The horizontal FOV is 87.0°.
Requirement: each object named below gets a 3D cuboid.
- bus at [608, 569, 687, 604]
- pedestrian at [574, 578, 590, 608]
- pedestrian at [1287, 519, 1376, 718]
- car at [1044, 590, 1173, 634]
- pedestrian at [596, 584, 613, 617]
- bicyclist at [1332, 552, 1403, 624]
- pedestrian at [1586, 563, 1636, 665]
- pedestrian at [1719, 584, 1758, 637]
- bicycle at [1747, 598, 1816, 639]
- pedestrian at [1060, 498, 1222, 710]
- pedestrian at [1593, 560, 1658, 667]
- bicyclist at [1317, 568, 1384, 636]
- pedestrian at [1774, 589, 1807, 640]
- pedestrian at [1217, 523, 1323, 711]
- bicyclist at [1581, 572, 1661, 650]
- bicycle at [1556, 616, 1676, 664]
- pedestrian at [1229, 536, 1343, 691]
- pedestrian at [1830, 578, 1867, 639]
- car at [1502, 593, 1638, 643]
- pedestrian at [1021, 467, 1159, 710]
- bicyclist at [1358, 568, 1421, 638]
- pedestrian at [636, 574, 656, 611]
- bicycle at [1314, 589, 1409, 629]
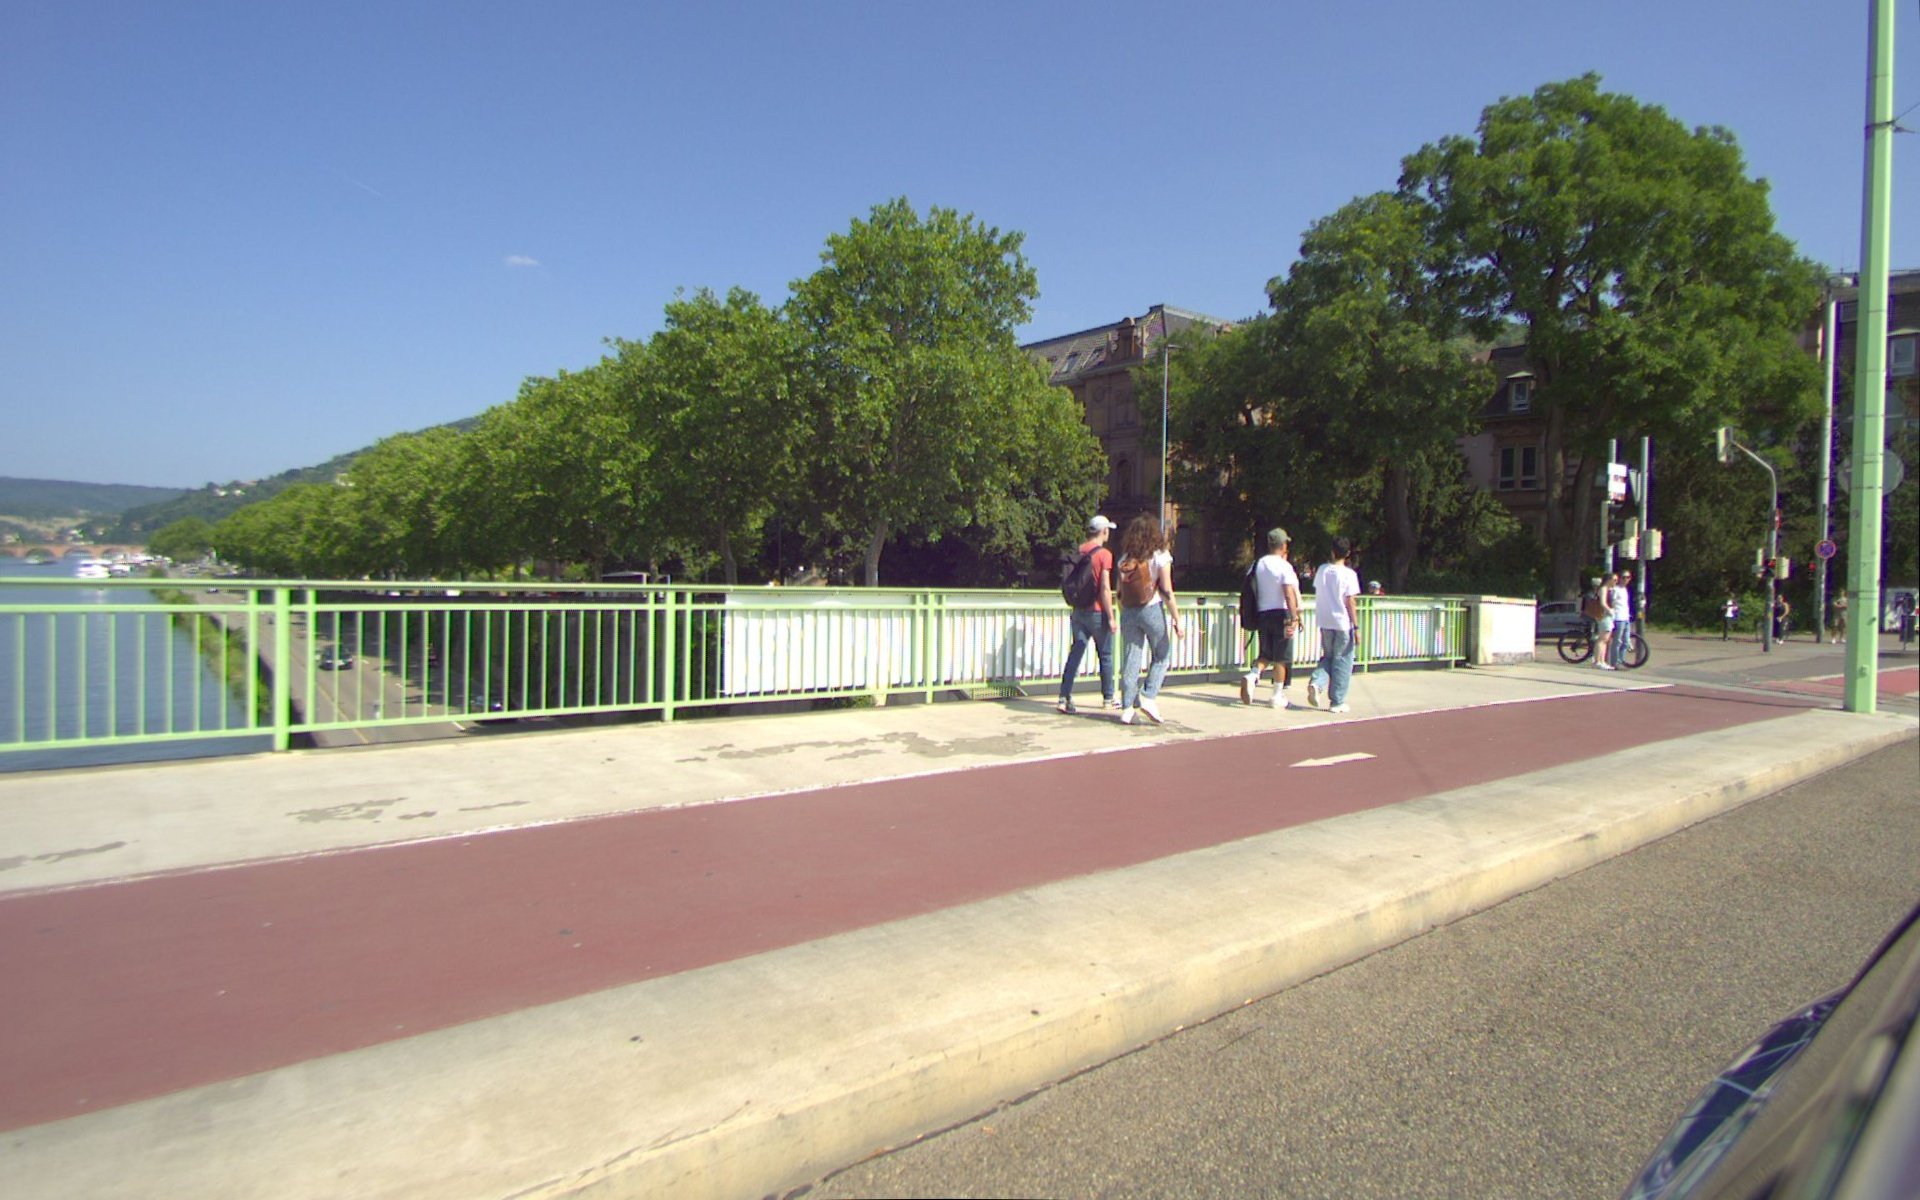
[{"bbox_3d":[-27.437,-1.270,88.635,3.058,2.817,8.835,-1,3,-43],"label":"bus"},{"bbox_3d":[-22.585,-0.431,60.432,0.665,1.797,0.741,1,0,-43],"label":"pedestrian"},{"bbox_3d":[3.556,0.158,9.696,0.635,1.821,0.549,-1,2,-43],"label":"pedestrian"},{"bbox_3d":[5.337,0.396,36.859,1.816,1.466,4.475,0,1,-44],"label":"car"},{"bbox_3d":[-19.755,0.012,56.258,0.665,1.797,0.741,1,0,-43],"label":"pedestrian"},{"bbox_3d":[8.750,-0.257,21.767,0.909,1.492,1.084,1,0,-31],"label":"bicyclist"},{"bbox_3d":[11.569,0.235,17.990,0.566,1.782,0.536,1,1,-34],"label":"pedestrian"},{"bbox_3d":[27.707,0.353,36.019,1.054,1.802,0.693,1,5,38],"label":"pedestrian"},{"bbox_3d":[28.803,0.645,35.484,2.227,1.219,0.805,-3,5,-20],"label":"bicycle"},{"bbox_3d":[1.515,0.007,8.502,0.906,1.635,0.986,-1,2,-43],"label":"pedestrian"},{"bbox_3d":[12.024,0.223,18.291,0.632,1.879,0.776,1,1,-34],"label":"pedestrian"},{"bbox_3d":[8.778,0.044,22.776,0.909,1.492,1.084,1,0,-29],"label":"bicyclist"},{"bbox_3d":[28.790,0.490,35.086,0.877,1.731,0.675,0,2,-41],"label":"pedestrian"},{"bbox_3d":[3.013,0.143,9.842,0.719,1.737,0.696,-1,2,-43],"label":"pedestrian"},{"bbox_3d":[13.014,0.202,19.940,0.785,1.492,1.084,1,0,-33],"label":"bicyclist"},{"bbox_3d":[12.933,0.765,20.008,0.554,0.837,1.946,1,0,-32],"label":"bicycle"},{"bbox_3d":[3.669,0.129,11.405,0.932,1.655,0.801,0,2,-36],"label":"pedestrian"},{"bbox_3d":[30.491,0.269,34.730,1.042,2.038,0.776,0,2,-42],"label":"pedestrian"},{"bbox_3d":[21.380,0.605,35.526,3.968,1.535,1.911,2,1,35],"label":"car"},{"bbox_3d":[1.170,-0.117,9.131,0.938,2.038,0.804,-1,2,-43],"label":"pedestrian"},{"bbox_3d":[9.464,0.064,22.346,0.746,1.492,1.085,1,0,-16],"label":"bicyclist"},{"bbox_3d":[-15.331,-0.388,49.435,0.665,1.797,0.741,1,0,-43],"label":"pedestrian"},{"bbox_3d":[8.639,0.178,21.835,0.554,0.837,1.946,1,0,-32],"label":"bicycle"}]
